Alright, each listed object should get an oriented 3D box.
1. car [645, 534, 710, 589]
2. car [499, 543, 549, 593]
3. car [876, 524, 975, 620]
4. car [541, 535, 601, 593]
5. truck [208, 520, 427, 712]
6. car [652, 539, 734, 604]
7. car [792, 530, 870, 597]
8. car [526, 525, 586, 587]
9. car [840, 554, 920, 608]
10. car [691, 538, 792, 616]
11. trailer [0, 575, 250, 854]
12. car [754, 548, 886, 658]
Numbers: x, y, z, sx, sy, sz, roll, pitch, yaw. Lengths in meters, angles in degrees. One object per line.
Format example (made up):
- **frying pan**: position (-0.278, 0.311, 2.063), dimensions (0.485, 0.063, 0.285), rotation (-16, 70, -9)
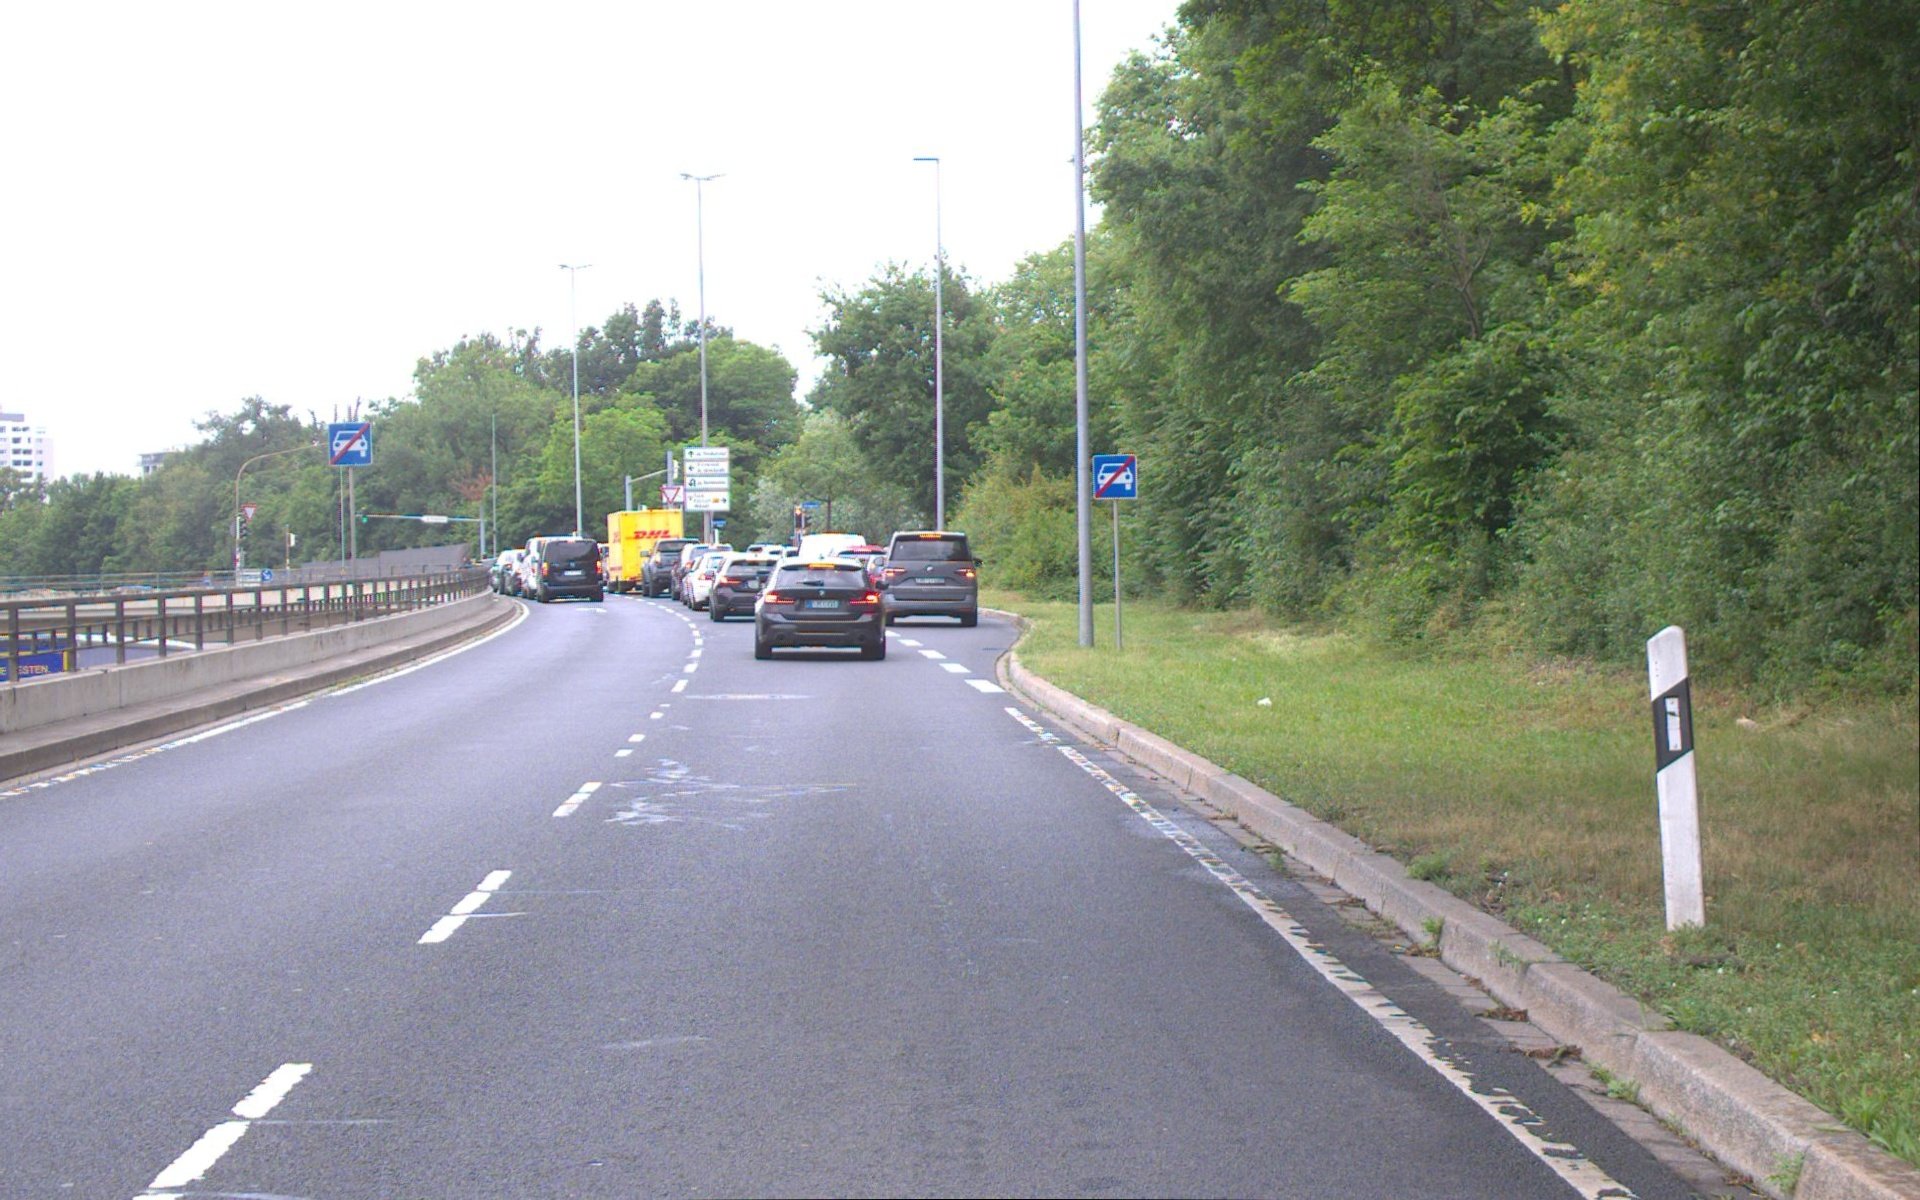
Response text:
- **car**: position (-9.038, -1.221, 109.626), dimensions (1.884, 1.694, 4.431), rotation (1, 0, -7)
- **car**: position (-15.259, -1.127, 120.206), dimensions (1.623, 1.696, 4.297), rotation (1, 0, -9)
- **car**: position (-0.728, -0.563, 69.508), dimensions (1.899, 1.878, 4.416), rotation (1, 0, -2)
- **car**: position (-11.842, -1.086, 104.502), dimensions (1.623, 1.696, 4.297), rotation (1, 0, -9)
- **truck**: position (-14.897, 0.306, 81.036), dimensions (2.850, 4.023, 15.579), rotation (-1, 0, -3)
- **car**: position (-6.823, -0.716, 87.432), dimensions (1.884, 1.587, 4.431), rotation (1, 0, -7)
- **car**: position (-3.753, -1.050, 99.302), dimensions (1.884, 1.873, 4.431), rotation (1, 0, -7)
- **car**: position (-13.231, -1.424, 112.551), dimensions (1.884, 1.981, 4.431), rotation (1, 0, -7)
- **car**: position (-2.073, -0.494, 88.212), dimensions (1.884, 1.351, 4.001), rotation (1, 0, -4)
- **car**: position (-4.679, -0.487, 73.149), dimensions (1.884, 1.587, 4.431), rotation (1, 0, -7)
- **trailer**: position (-14.731, 1.648, 57.881), dimensions (2.851, 4.023, 16.007), rotation (-1, 0, -3)
- **car**: position (-2.017, 0.007, 48.618), dimensions (1.748, 1.421, 4.462), rotation (-1, 2, -4)
